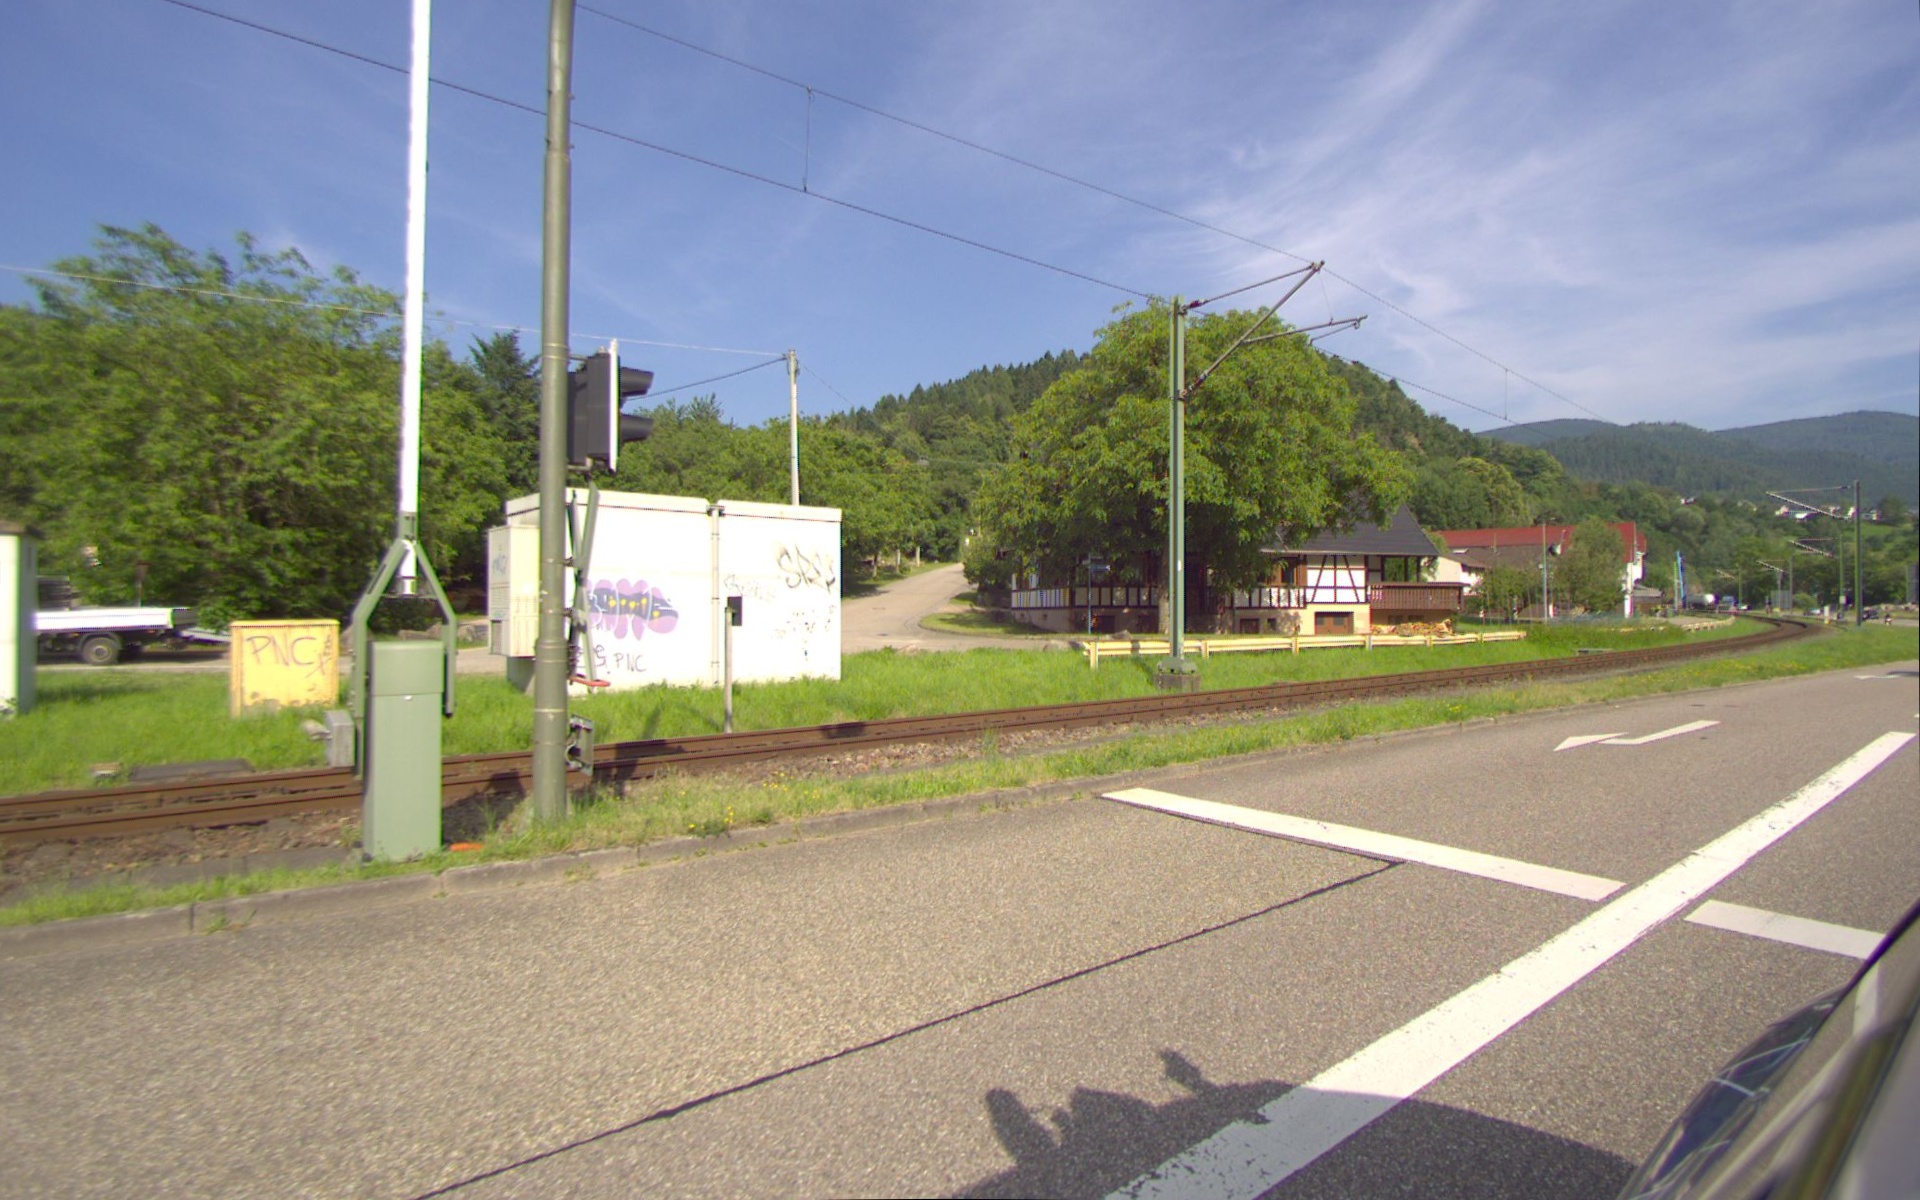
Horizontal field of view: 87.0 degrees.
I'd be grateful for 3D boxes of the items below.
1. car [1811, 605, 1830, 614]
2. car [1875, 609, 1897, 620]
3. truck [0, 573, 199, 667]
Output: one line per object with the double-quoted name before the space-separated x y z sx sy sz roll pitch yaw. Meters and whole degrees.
"car" 161.235 1.766 189.583 1.852 1.683 3.961 -1 -1 28
"car" 146.872 2.298 160.510 1.986 1.683 3.952 -1 -1 33
"truck" -23.147 0.452 25.601 5.815 2.260 2.412 -1 1 -25
